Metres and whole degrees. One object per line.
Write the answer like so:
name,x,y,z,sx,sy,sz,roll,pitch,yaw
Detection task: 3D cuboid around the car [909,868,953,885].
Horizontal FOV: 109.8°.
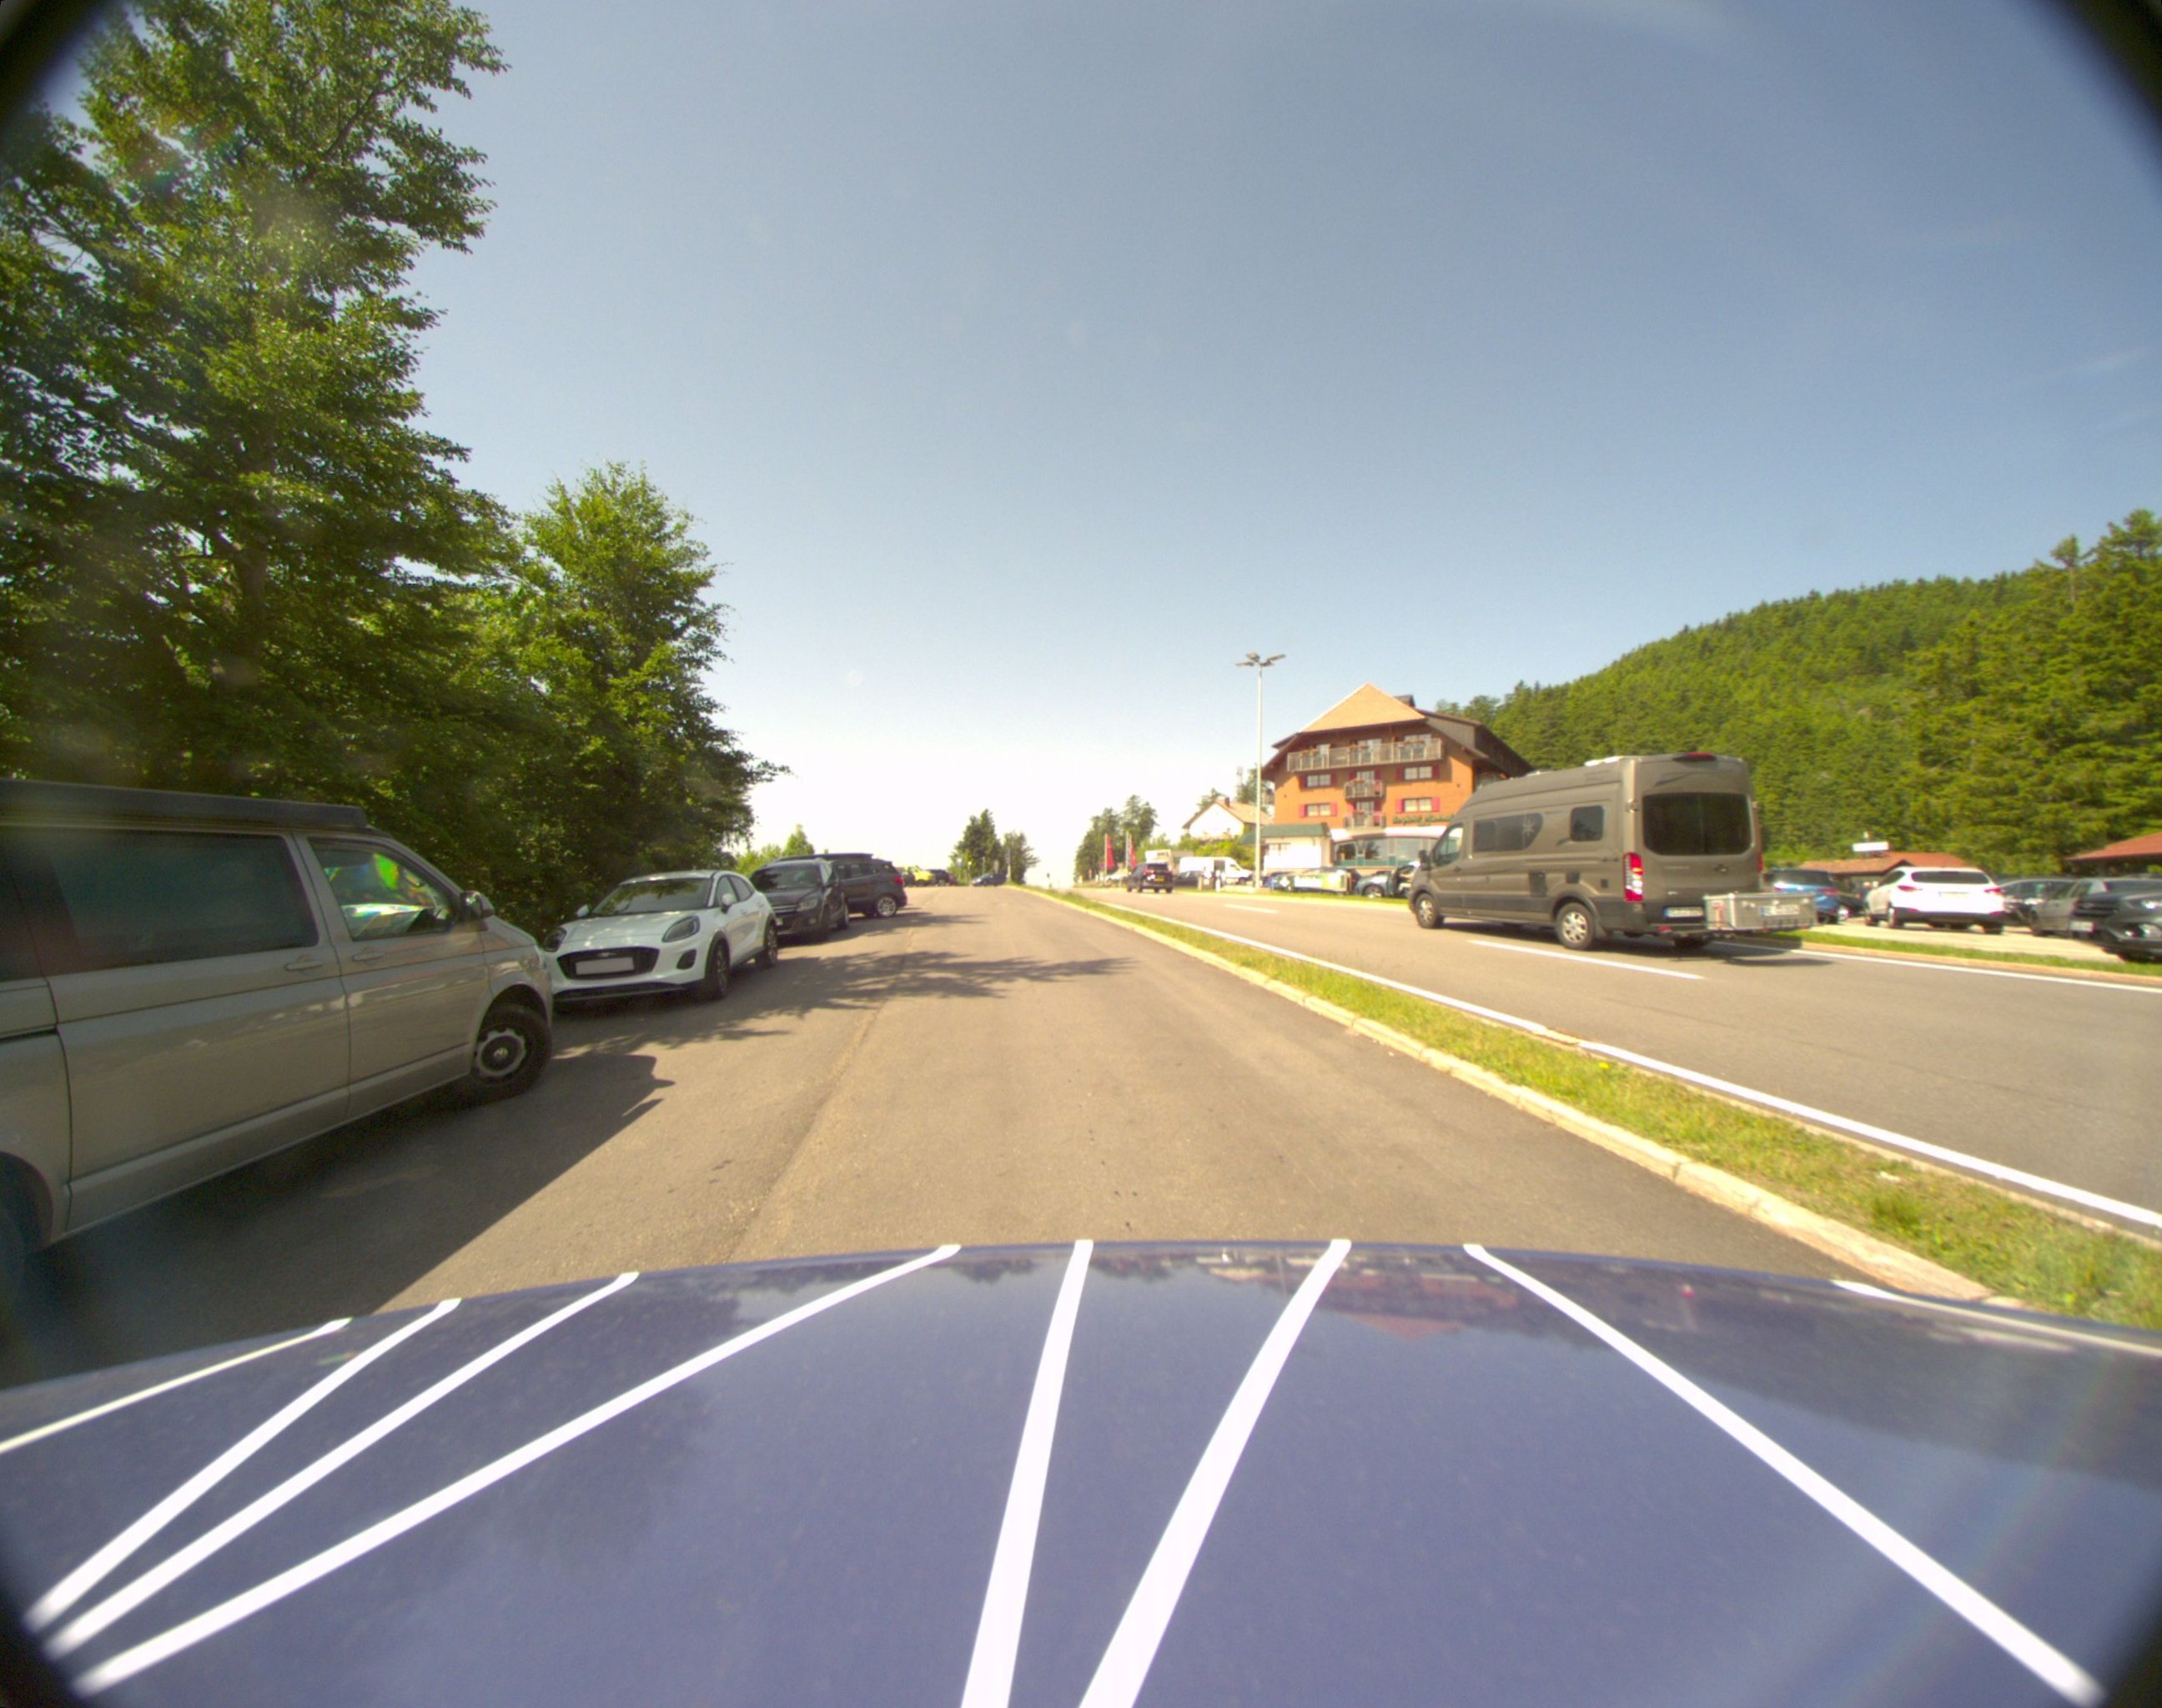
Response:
car,-14.173,2.105,72.072,3.912,1.605,1.875,0,0,-6

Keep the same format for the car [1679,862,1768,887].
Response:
car,46.802,1.448,55.501,4.832,1.705,1.925,0,0,35

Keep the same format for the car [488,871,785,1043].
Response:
car,-5.264,1.077,9.704,1.876,1.538,3.997,-3,0,-9

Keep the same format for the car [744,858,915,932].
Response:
car,-6.718,1.030,20.316,4.005,1.609,1.872,-3,0,-28

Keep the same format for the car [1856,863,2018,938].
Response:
car,22.206,1.118,19.930,1.915,1.705,4.104,1,0,35

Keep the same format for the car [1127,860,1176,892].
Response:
car,3.832,1.150,41.962,1.722,1.672,4.127,0,0,-8

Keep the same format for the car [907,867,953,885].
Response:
car,-13.783,1.982,69.493,3.912,1.605,1.875,0,0,-6

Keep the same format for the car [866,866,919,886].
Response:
car,-14.955,1.737,60.463,3.912,1.605,1.875,0,0,-6

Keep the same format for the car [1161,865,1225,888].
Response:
car,7.983,1.572,54.251,4.083,1.518,1.828,0,0,30

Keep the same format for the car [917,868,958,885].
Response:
car,-14.326,2.255,76.140,3.912,1.605,1.875,0,0,-6

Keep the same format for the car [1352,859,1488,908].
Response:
car,12.342,1.031,27.778,4.259,1.619,1.828,0,0,34

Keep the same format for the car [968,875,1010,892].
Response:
car,-9.369,2.977,77.621,3.921,1.605,1.871,1,0,-43

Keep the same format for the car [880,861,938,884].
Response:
car,-14.292,1.526,63.304,4.459,1.914,1.875,0,0,-6

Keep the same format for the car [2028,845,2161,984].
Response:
car,14.745,0.738,8.715,4.539,1.646,1.726,0,0,33

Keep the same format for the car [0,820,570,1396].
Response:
car,-4.671,0.907,3.415,1.862,1.924,4.607,-4,0,-5

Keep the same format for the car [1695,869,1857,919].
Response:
car,25.006,1.375,27.550,4.083,1.619,1.828,0,0,34

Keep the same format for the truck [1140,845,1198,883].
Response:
truck,9.498,1.105,80.999,2.877,3.798,9.035,-2,-1,29

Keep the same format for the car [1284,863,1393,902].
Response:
car,11.543,1.229,34.153,4.259,1.619,1.828,0,0,34

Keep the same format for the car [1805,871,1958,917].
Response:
car,33.548,1.632,32.020,4.083,1.705,1.924,0,0,32

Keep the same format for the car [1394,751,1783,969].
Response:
car,7.693,0.108,12.595,2.017,2.735,5.913,0,0,-7

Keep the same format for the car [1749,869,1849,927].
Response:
car,22.246,1.282,23.698,1.819,1.619,4.104,1,0,37

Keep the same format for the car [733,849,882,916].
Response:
car,-9.300,0.917,25.872,4.466,1.914,1.872,-3,0,-28

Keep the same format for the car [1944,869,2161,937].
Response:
car,27.235,1.293,20.994,4.083,1.705,1.924,0,0,32

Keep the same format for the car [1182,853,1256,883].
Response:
car,13.473,1.348,74.227,6.954,2.774,2.669,0,0,10

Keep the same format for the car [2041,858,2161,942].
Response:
car,23.511,0.971,15.753,4.083,1.705,1.925,0,0,35

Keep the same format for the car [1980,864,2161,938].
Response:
car,25.762,1.136,18.847,4.083,1.705,1.925,0,0,35

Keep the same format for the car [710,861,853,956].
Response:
car,-6.069,1.004,15.895,1.876,1.609,3.997,-3,0,-9

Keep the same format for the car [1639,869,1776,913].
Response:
car,25.122,1.445,30.680,4.083,1.619,1.828,0,0,34

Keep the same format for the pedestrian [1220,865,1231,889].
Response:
pedestrian,11.222,1.811,59.080,0.672,1.853,0.753,0,0,23

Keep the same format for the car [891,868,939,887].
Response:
car,-14.514,2.038,66.520,3.912,1.605,1.875,0,0,-6
